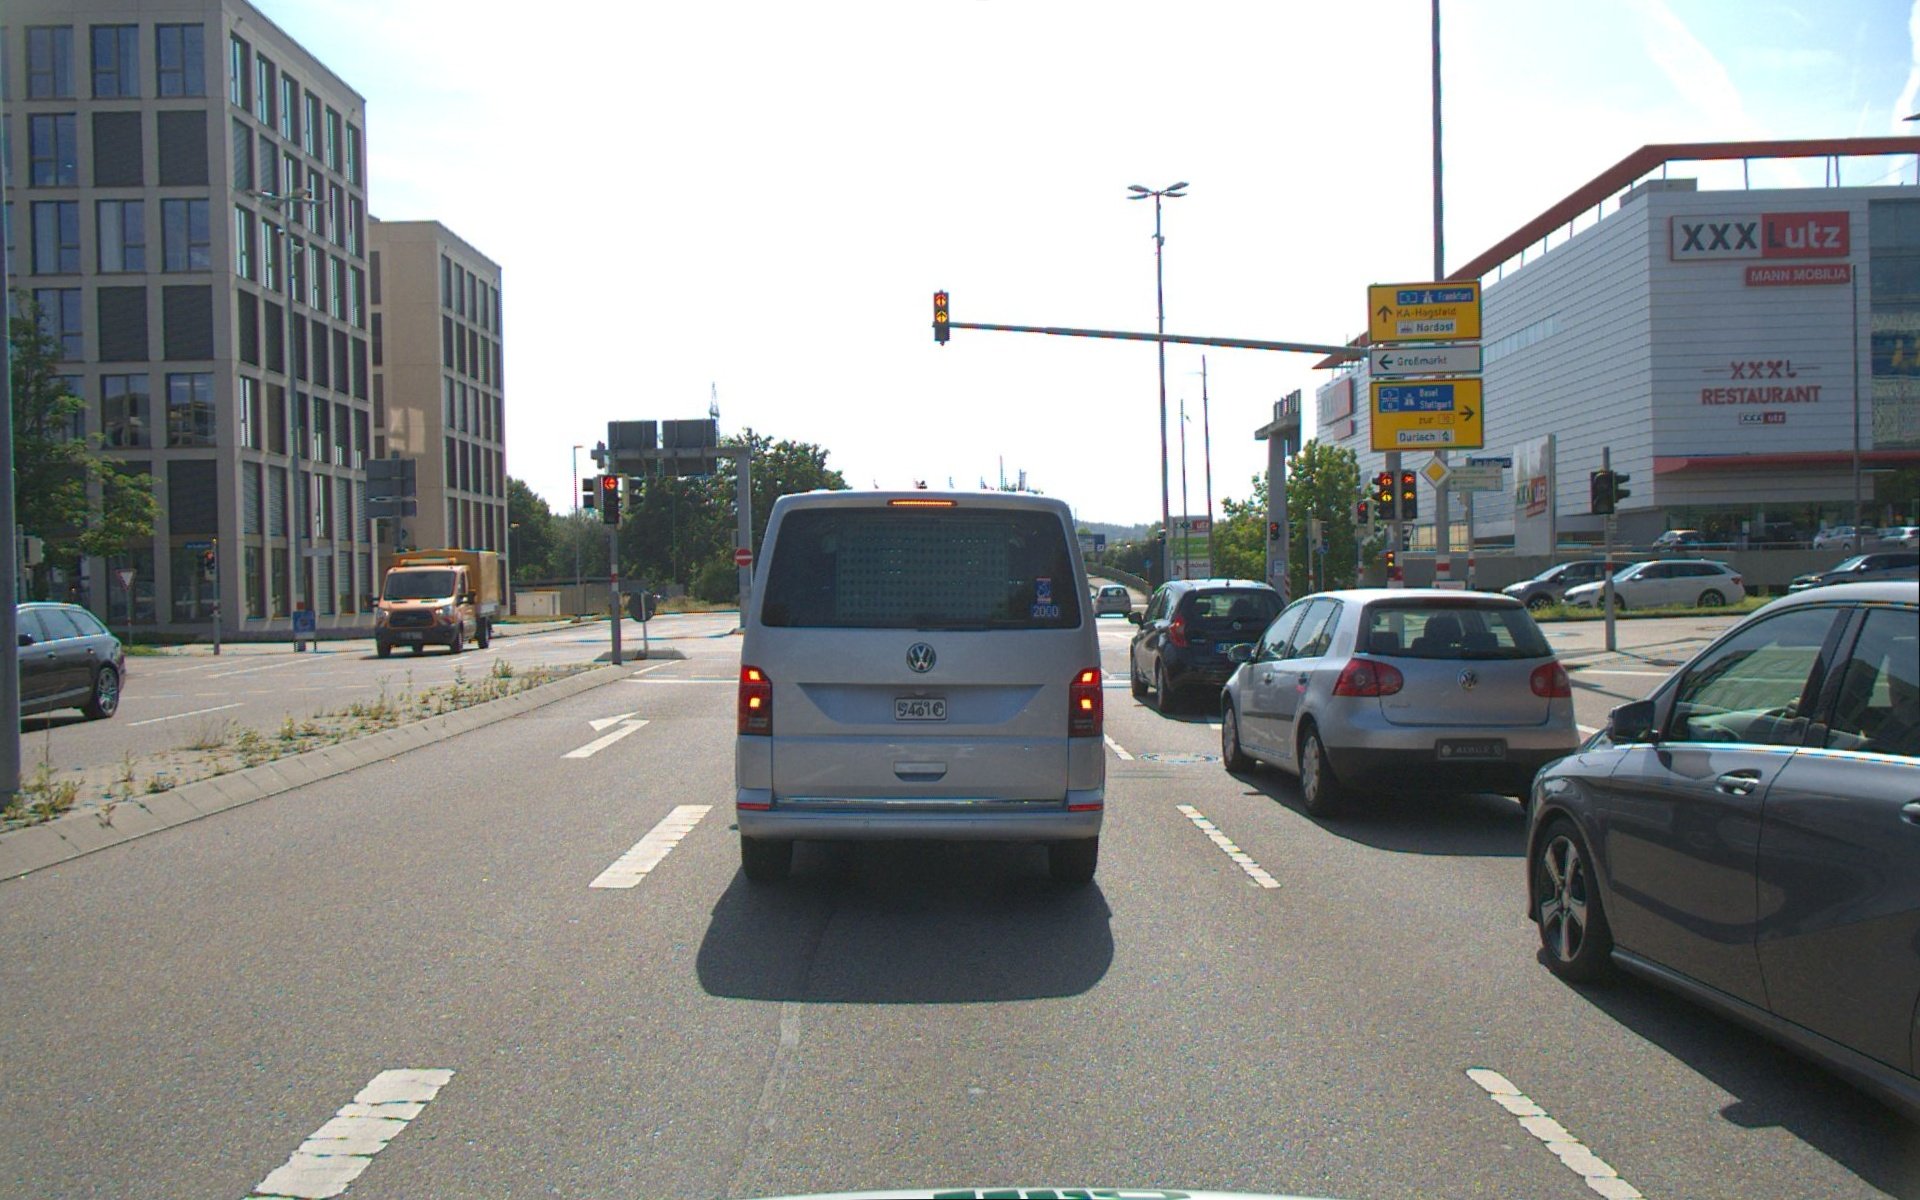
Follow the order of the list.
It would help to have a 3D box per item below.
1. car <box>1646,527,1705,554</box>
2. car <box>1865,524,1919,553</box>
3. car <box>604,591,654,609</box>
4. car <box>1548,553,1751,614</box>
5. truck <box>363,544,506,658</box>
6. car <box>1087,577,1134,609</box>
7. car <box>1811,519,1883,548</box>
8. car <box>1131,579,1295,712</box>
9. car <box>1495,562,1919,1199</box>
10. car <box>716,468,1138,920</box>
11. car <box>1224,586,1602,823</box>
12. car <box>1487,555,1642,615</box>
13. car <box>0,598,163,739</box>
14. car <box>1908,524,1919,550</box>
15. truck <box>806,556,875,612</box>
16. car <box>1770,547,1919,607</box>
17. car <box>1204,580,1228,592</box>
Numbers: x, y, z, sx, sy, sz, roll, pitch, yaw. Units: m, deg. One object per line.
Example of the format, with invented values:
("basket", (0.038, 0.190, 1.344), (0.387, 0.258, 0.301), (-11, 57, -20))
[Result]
("car", (41.765, -3.479, 96.664), (1.734, 1.444, 4.201), (-1, 1, 2))
("car", (51.668, -3.376, 90.716), (1.794, 1.444, 4.201), (-1, 1, 2))
("car", (-28.792, -0.024, 143.774), (4.039, 1.445, 1.718), (-1, -1, -20))
("car", (18.496, -0.434, 44.513), (4.618, 1.450, 1.959), (-2, -1, 2))
("truck", (-13.555, -0.008, 43.137), (2.331, 2.670, 6.661), (-2, 1, -8))
("car", (7.150, -0.358, 78.749), (1.502, 1.463, 3.241), (-2, 1, -8))
("car", (48.977, -3.659, 91.435), (1.762, 1.444, 4.007), (-1, 1, -1))
("car", (3.057, 0.495, 20.570), (1.499, 1.505, 3.596), (0, 1, 0))
("car", (3.206, 0.670, 5.006), (1.738, 1.566, 4.137), (-1, 1, -2))
("car", (-0.179, 0.396, 9.529), (1.878, 2.010, 4.296), (0, 1, -1))
("car", (3.087, 0.626, 12.024), (1.633, 1.439, 3.681), (0, 1, -2))
("car", (17.322, -0.438, 47.552), (3.803, 1.585, 1.809), (-1, 0, 3))
("car", (-11.434, 0.808, 19.577), (1.810, 1.485, 4.662), (-4, 1, -2))
("car", (54.411, -3.522, 91.320), (1.833, 1.444, 4.201), (-1, 1, 2))
("truck", (-8.387, -1.185, 117.262), (2.688, 3.744, 7.586), (-2, 1, 12))
("car", (25.451, -0.639, 46.947), (3.945, 1.535, 1.909), (-2, -1, 2))
("car", (34.013, -1.831, 219.846), (1.957, 1.445, 3.991), (1, 0, -9))
